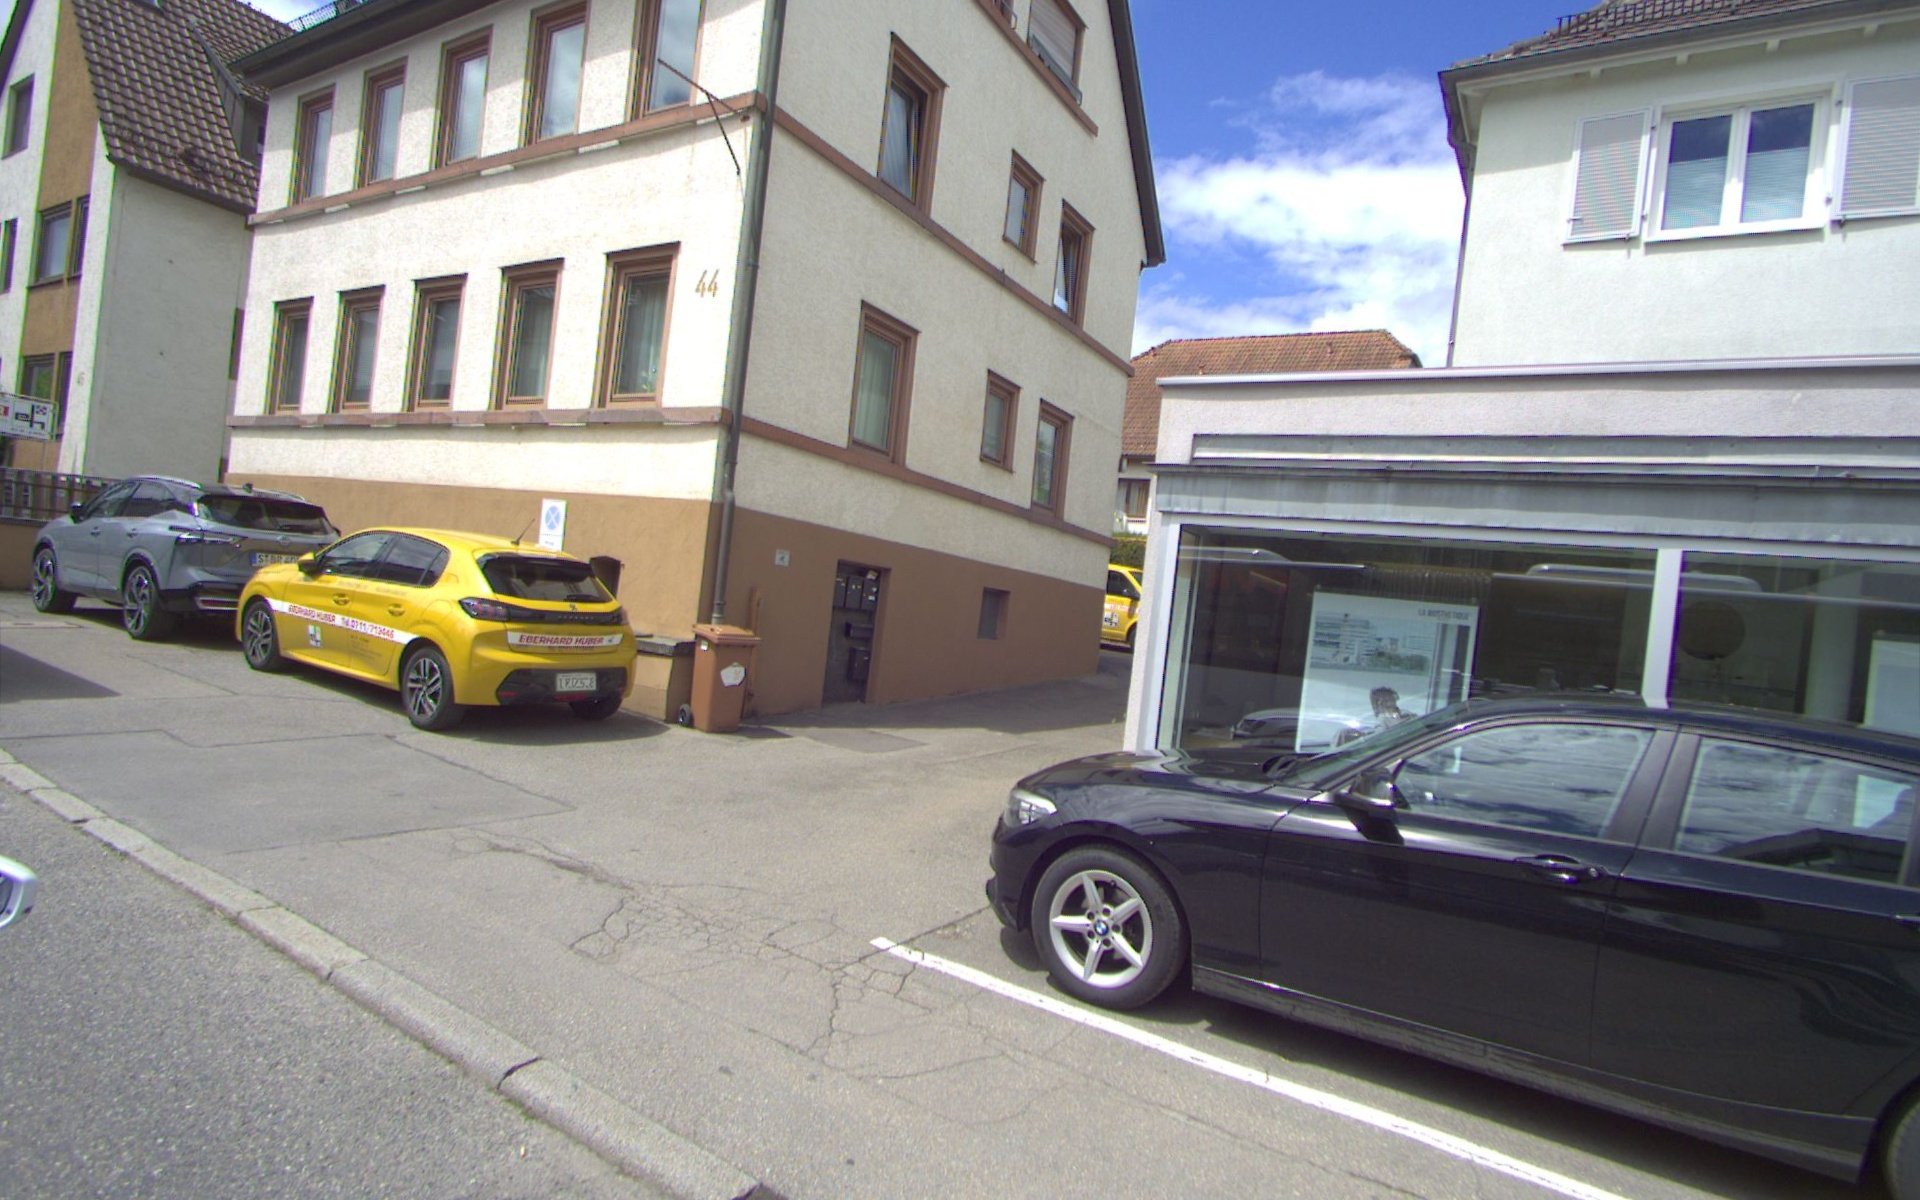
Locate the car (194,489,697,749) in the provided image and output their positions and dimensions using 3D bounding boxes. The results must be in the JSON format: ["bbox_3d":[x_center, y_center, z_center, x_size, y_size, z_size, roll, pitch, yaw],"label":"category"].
[{"bbox_3d":[-4.607,0.073,8.867,4.234,1.466,1.879,9,2,31],"label":"car"}]

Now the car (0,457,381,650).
[{"bbox_3d":[-8.662,-0.551,11.193,4.510,1.632,1.862,7,1,32],"label":"car"}]

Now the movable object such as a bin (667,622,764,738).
[{"bbox_3d":[-2.192,0.712,9.028,0.589,0.936,0.501,7,1,36],"label":"movable object such as a bin"}]

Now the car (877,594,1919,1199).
[{"bbox_3d":[2.124,0.995,3.950,4.459,1.465,1.971,7,0,31],"label":"car"}]

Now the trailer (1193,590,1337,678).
[{"bbox_3d":[6.532,0.730,21.335,1.619,1.559,3.531,8,3,38],"label":"trailer"}]

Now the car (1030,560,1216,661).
[{"bbox_3d":[3.766,0.204,23.442,3.715,1.928,1.844,6,3,33],"label":"car"}]

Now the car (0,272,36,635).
[{"bbox_3d":[-9.182,-1.058,7.123,5.476,2.830,2.256,7,0,31],"label":"car"}]
